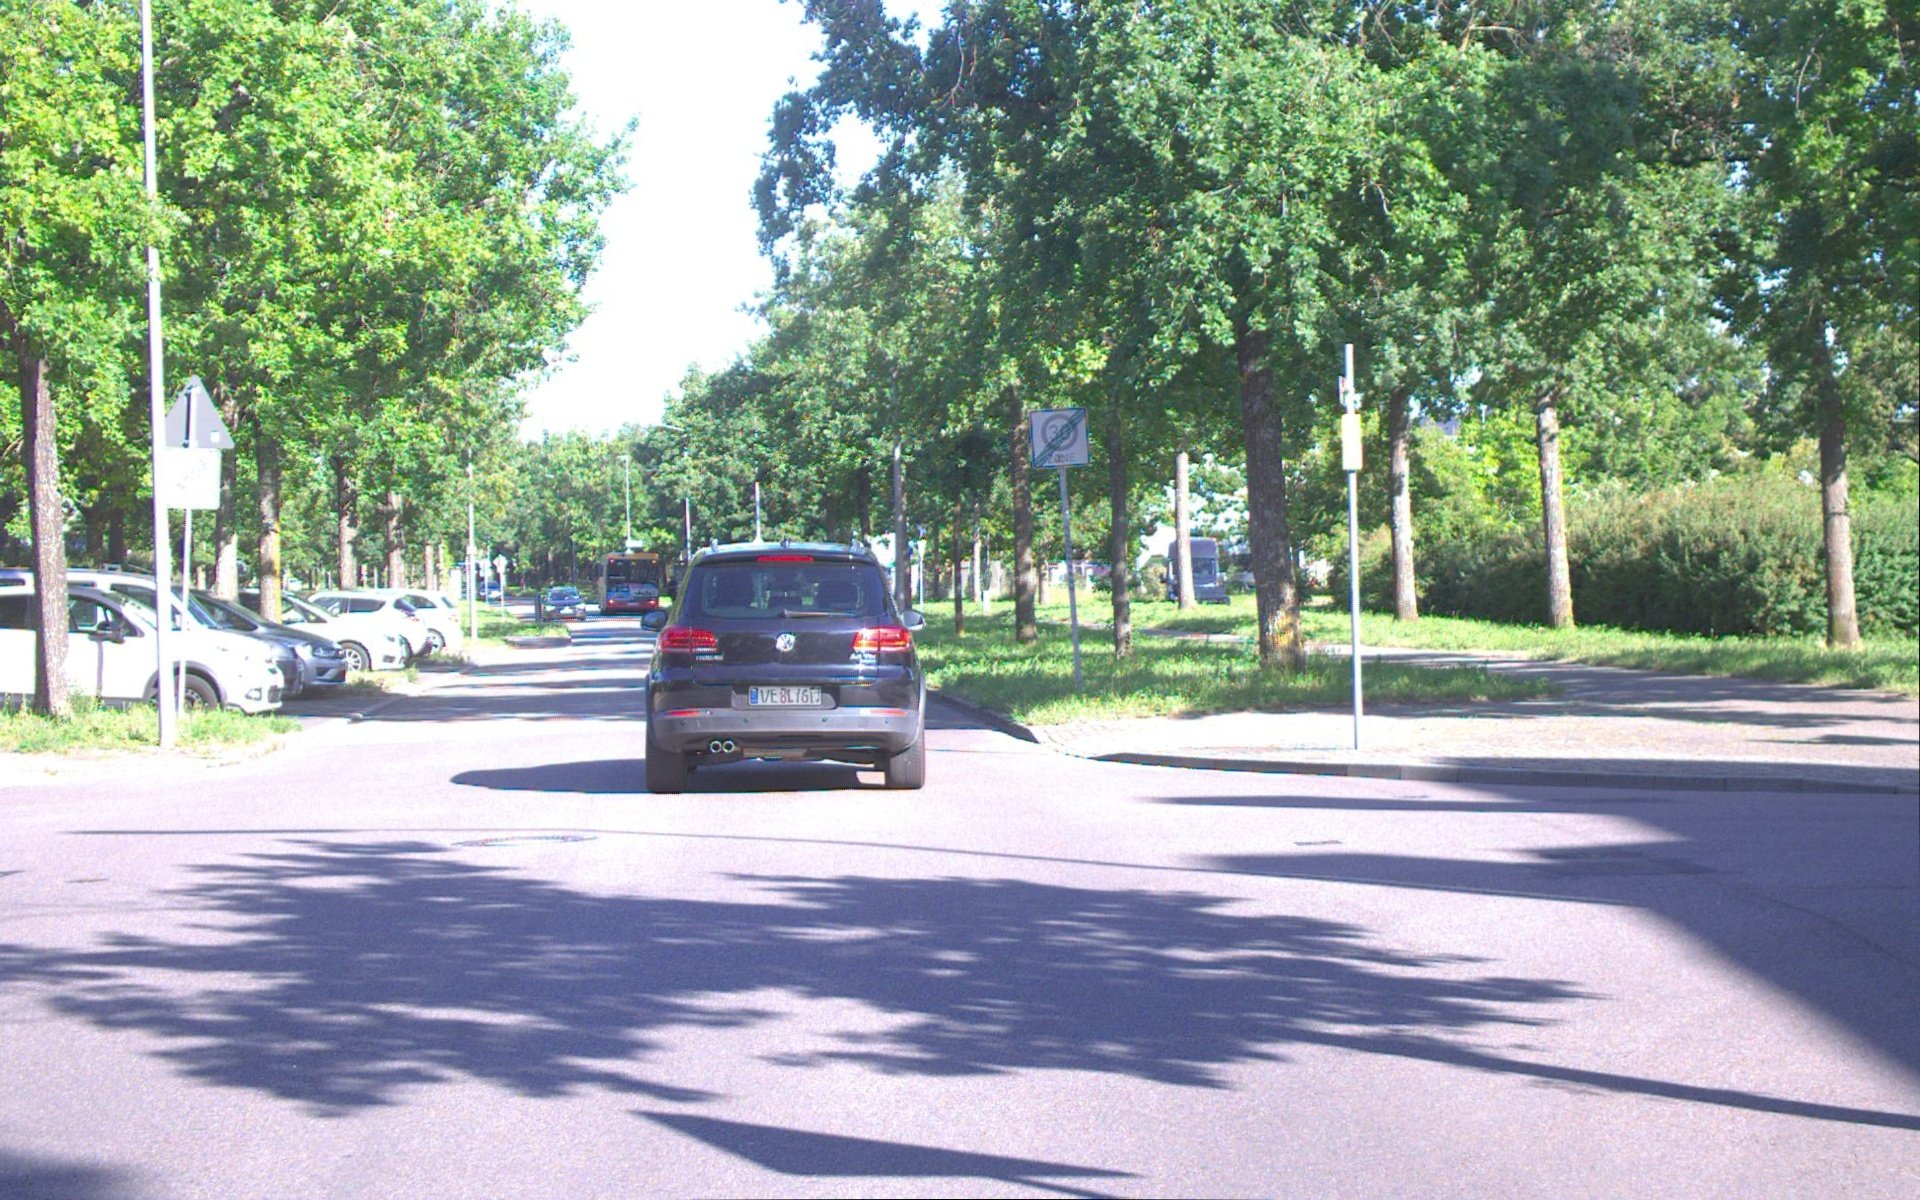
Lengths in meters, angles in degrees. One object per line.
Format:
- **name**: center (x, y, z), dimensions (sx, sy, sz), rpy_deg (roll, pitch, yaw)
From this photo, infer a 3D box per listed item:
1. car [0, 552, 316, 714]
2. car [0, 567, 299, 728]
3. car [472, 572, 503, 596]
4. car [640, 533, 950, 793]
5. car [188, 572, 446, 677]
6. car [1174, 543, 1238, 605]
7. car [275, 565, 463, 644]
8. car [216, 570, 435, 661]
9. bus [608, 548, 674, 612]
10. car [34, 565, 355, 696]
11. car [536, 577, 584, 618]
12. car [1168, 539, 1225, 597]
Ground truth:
- **car**: center (-10.139, 0.391, 42.498), dimensions (4.016, 1.833, 1.897), rpy_deg (-2, 1, -3)
- **car**: center (-9.399, 0.513, 37.025), dimensions (4.241, 1.617, 1.897), rpy_deg (-1, 0, -3)
- **car**: center (-33.060, -1.115, 240.376), dimensions (1.825, 1.546, 3.689), rpy_deg (-2, 1, -3)
- **car**: center (-1.052, 0.378, 23.752), dimensions (1.838, 1.631, 3.958), rpy_deg (-1, 1, 1)
- **car**: center (-10.712, 0.403, 57.499), dimensions (4.016, 1.642, 1.811), rpy_deg (-1, 0, -3)
- **car**: center (8.287, -0.869, 115.626), dimensions (2.054, 2.007, 3.999), rpy_deg (-1, 0, 5)
- **car**: center (-13.465, 0.087, 78.524), dimensions (4.016, 1.642, 1.811), rpy_deg (-2, 1, -3)
- **car**: center (-12.498, 0.288, 67.897), dimensions (4.016, 1.642, 1.811), rpy_deg (-2, 1, -3)
- **bus**: center (-15.427, -0.940, 166.603), dimensions (2.928, 2.993, 5.737), rpy_deg (-1, 0, -3)
- **car**: center (-10.512, 0.402, 47.430), dimensions (4.016, 1.642, 1.897), rpy_deg (-2, 1, -3)
- **car**: center (-17.317, -0.099, 148.955), dimensions (1.852, 1.687, 3.956), rpy_deg (-1, 0, -3)
- **car**: center (8.672, -1.184, 126.011), dimensions (1.994, 2.007, 4.000), rpy_deg (-2, 1, 4)
